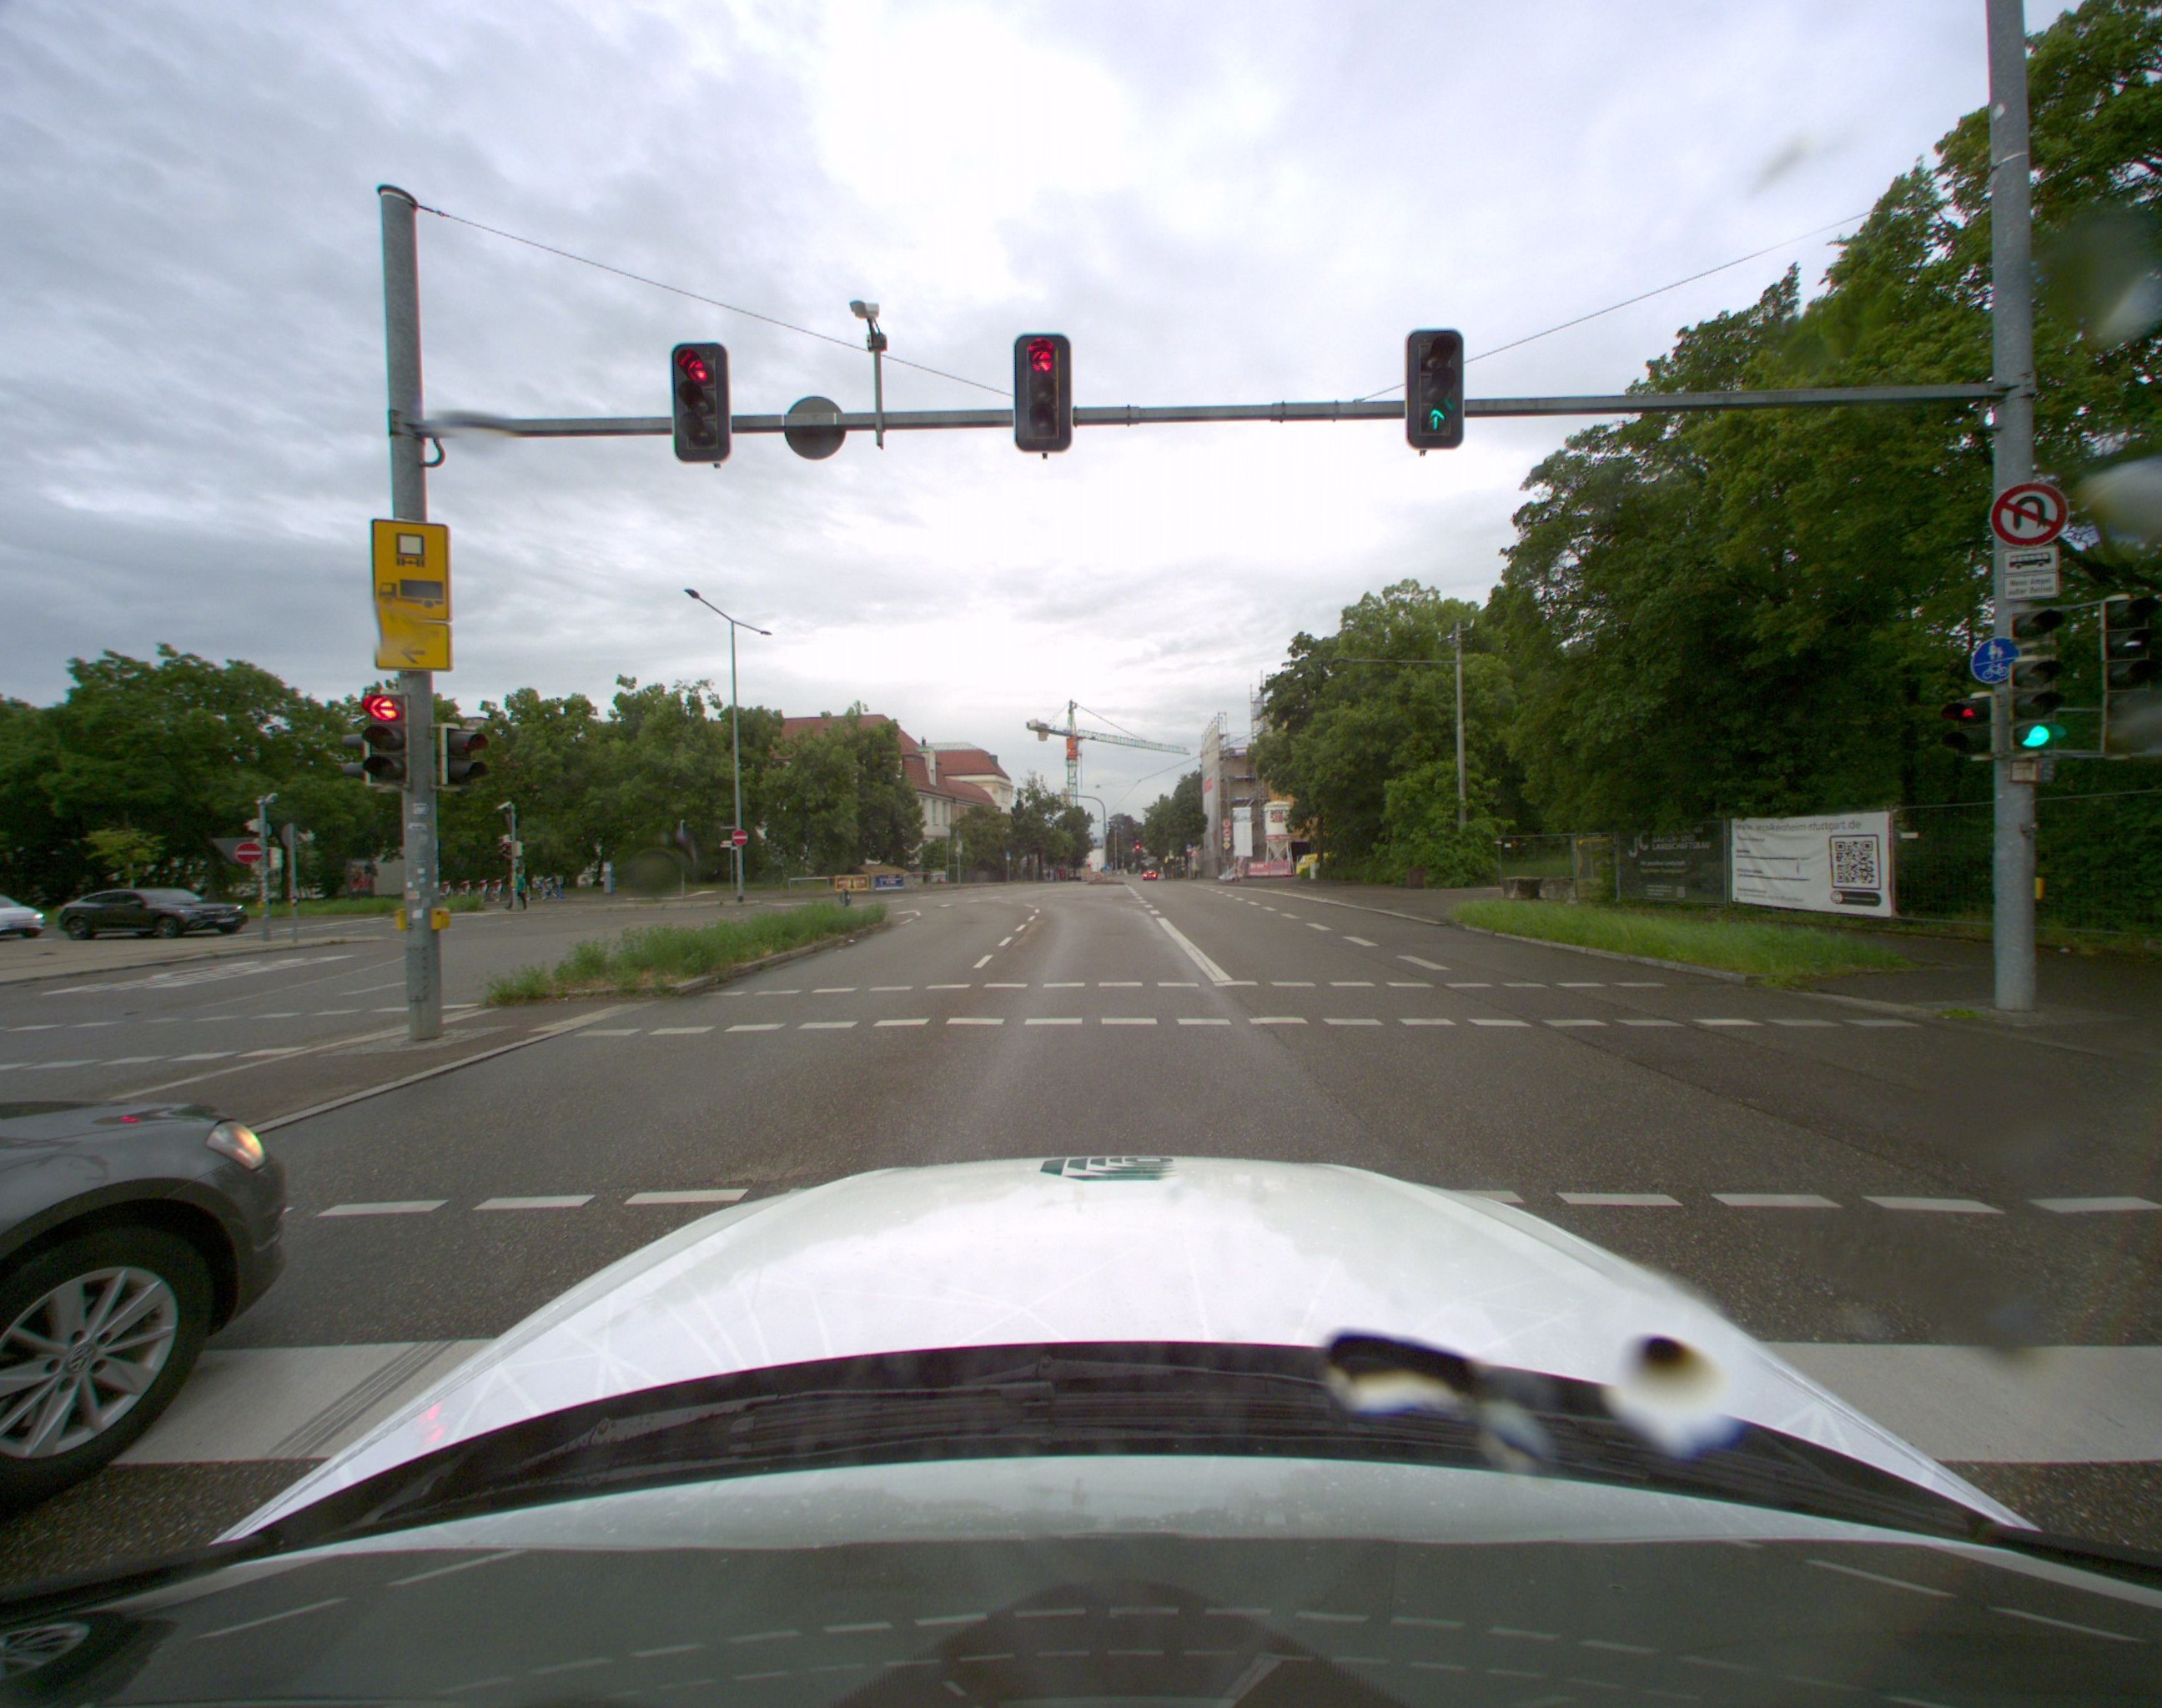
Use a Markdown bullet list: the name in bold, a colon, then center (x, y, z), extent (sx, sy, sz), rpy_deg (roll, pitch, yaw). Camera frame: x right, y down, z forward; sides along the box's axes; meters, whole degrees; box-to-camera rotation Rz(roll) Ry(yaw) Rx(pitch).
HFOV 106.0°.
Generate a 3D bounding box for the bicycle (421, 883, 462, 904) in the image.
- **bicycle**: center (-34.986, 2.146, 44.575), extent (0.649, 1.071, 1.982), rpy_deg (0, -1, 2)

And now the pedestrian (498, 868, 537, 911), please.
- **pedestrian**: center (-23.198, 1.432, 33.524), extent (0.918, 1.727, 0.947), rpy_deg (0, -1, 4)

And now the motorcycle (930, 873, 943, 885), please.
- **motorcycle**: center (-11.606, 1.998, 65.260), extent (0.846, 0.877, 0.877), rpy_deg (0, -1, 1)

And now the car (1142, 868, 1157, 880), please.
- **car**: center (10.441, 3.084, 124.992), extent (1.986, 1.750, 4.001), rpy_deg (-2, 0, 1)

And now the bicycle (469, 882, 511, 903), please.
- **bicycle**: center (-32.268, 2.071, 44.501), extent (0.798, 1.071, 1.982), rpy_deg (0, -1, 2)

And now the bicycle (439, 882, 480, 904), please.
- **bicycle**: center (-33.907, 2.118, 44.444), extent (0.649, 1.071, 1.982), rpy_deg (0, -1, 2)

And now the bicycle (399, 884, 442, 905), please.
- **bicycle**: center (-35.963, 2.181, 44.360), extent (0.649, 1.071, 1.982), rpy_deg (0, -1, 2)

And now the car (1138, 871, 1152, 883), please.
- **car**: center (10.204, 3.670, 130.953), extent (1.986, 1.750, 4.001), rpy_deg (-2, 0, 1)

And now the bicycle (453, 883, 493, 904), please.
- **bicycle**: center (-33.018, 2.122, 44.269), extent (0.649, 1.071, 1.982), rpy_deg (0, -1, 2)

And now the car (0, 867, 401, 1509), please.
- **car**: center (-3.478, 0.807, 0.803), extent (1.809, 1.481, 4.378), rpy_deg (-2, 0, 2)

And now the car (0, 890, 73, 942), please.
- **car**: center (-36.496, 2.039, 27.045), extent (3.539, 1.594, 2.001), rpy_deg (0, -1, 1)

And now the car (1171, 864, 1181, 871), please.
- **car**: center (25.528, 3.520, 218.929), extent (1.980, 1.750, 4.014), rpy_deg (-2, 0, 13)

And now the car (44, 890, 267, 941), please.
- **car**: center (-30.075, 1.987, 26.580), extent (5.006, 1.500, 2.001), rpy_deg (0, -1, 1)

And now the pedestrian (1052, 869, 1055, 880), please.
- **pedestrian**: center (-4.266, 3.198, 125.566), extent (0.492, 1.645, 0.533), rpy_deg (0, -1, -4)

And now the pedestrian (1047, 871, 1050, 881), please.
- **pedestrian**: center (-4.995, 3.400, 125.475), extent (0.473, 1.396, 0.411), rpy_deg (-2, 0, 1)

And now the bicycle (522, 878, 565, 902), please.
- **bicycle**: center (-29.435, 1.943, 44.609), extent (0.987, 1.249, 1.982), rpy_deg (0, -1, 2)
